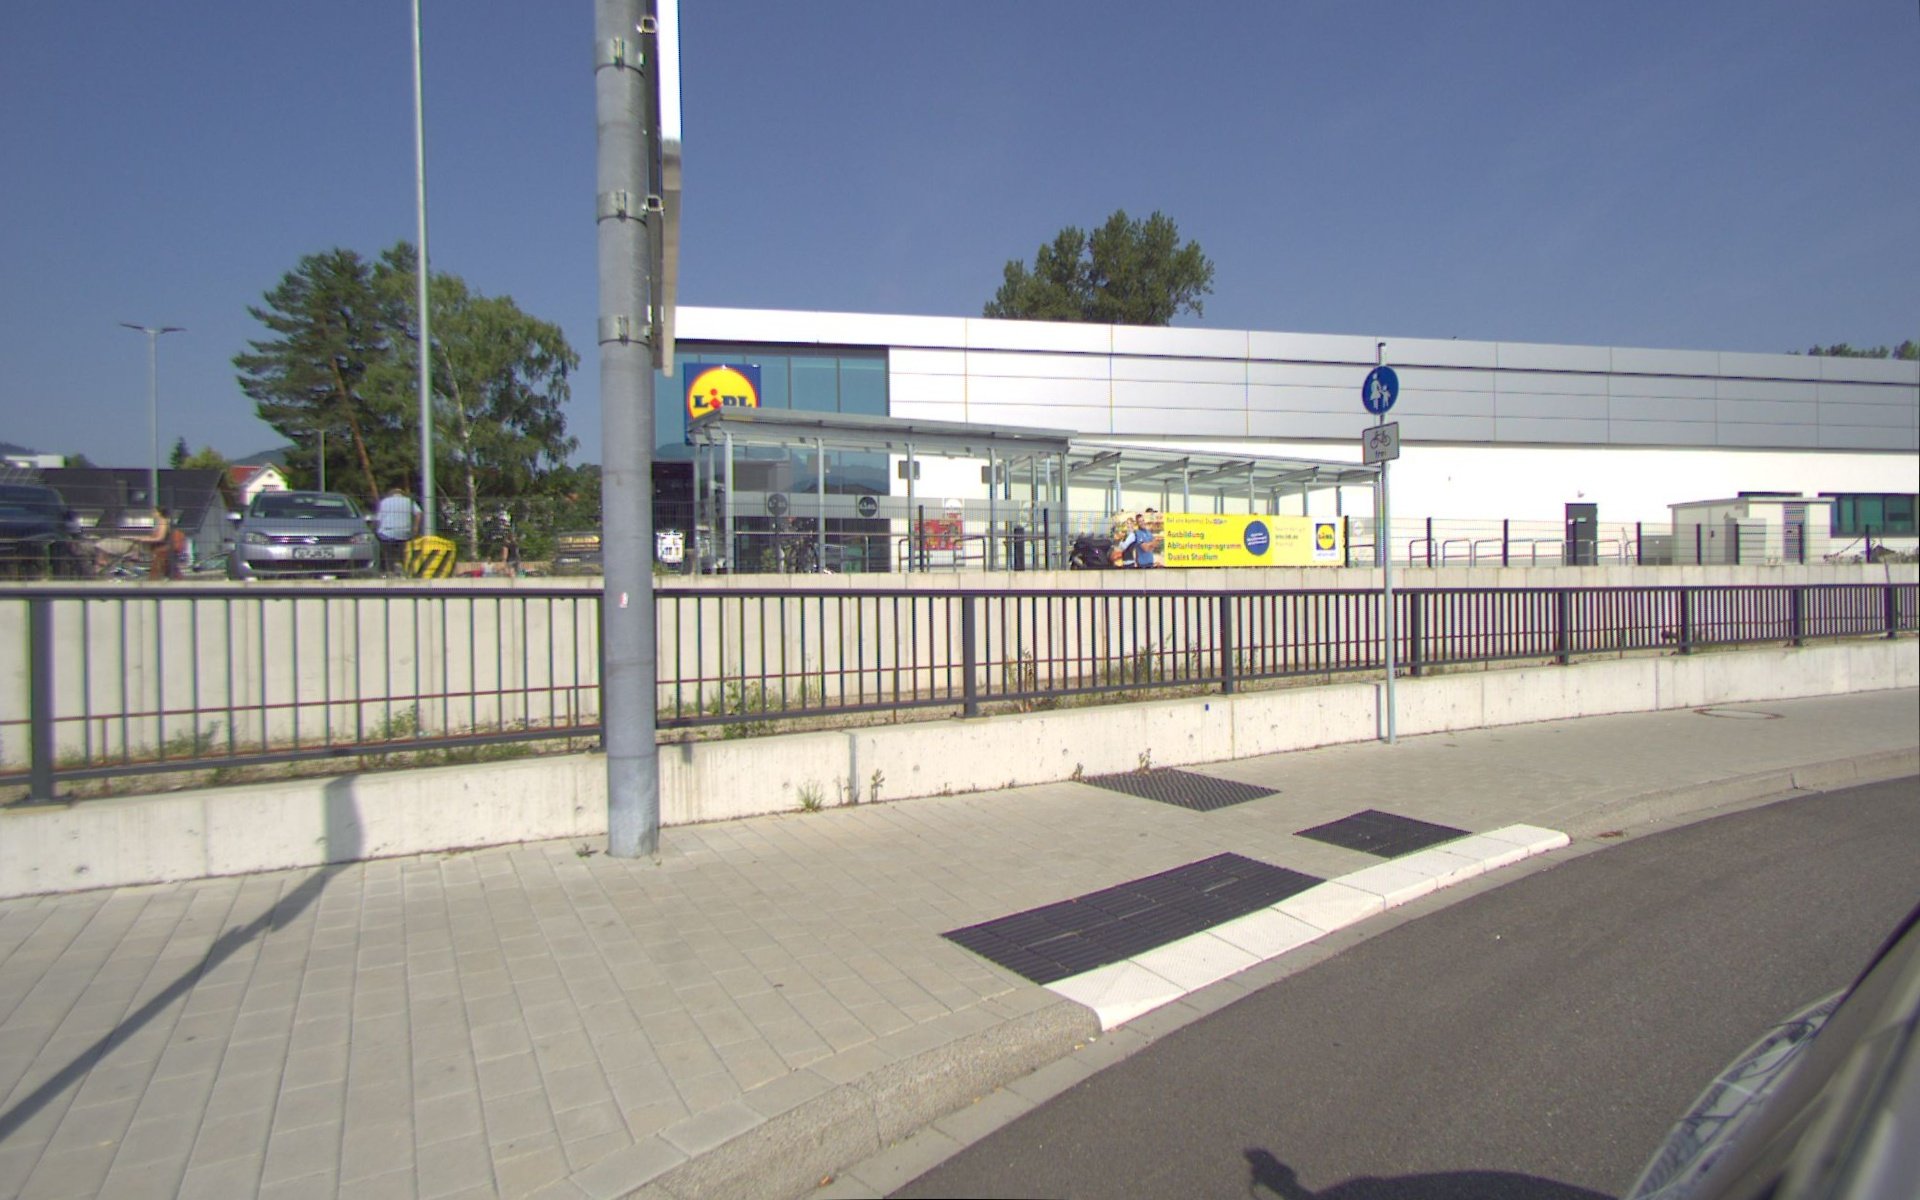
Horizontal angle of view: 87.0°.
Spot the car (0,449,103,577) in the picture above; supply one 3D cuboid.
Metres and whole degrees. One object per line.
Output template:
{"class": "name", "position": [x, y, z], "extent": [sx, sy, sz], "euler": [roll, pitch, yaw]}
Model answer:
{"class": "car", "position": [-12.510, -1.040, 13.242], "extent": [1.457, 1.422, 4.076], "euler": [-1, 1, -33]}

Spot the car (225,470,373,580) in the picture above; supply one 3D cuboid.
{"class": "car", "position": [-9.881, -1.019, 15.186], "extent": [1.648, 1.381, 3.819], "euler": [-1, 1, -33]}

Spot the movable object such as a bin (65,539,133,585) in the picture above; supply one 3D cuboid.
{"class": "movable object such as a bin", "position": [-14.330, -0.634, 16.861], "extent": [0.822, 0.732, 0.484], "euler": [-2, 2, -37]}

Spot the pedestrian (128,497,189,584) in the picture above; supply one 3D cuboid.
{"class": "pedestrian", "position": [-13.704, -1.011, 17.320], "extent": [0.759, 1.444, 0.549], "euler": [-2, 1, -36]}

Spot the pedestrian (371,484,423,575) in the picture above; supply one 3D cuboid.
{"class": "pedestrian", "position": [-8.537, -1.054, 15.336], "extent": [0.644, 1.328, 0.549], "euler": [-2, 1, -31]}

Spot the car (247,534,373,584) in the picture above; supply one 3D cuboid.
{"class": "car", "position": [-22.342, -1.430, 34.920], "extent": [3.557, 1.650, 1.604], "euler": [-2, 2, -31]}
